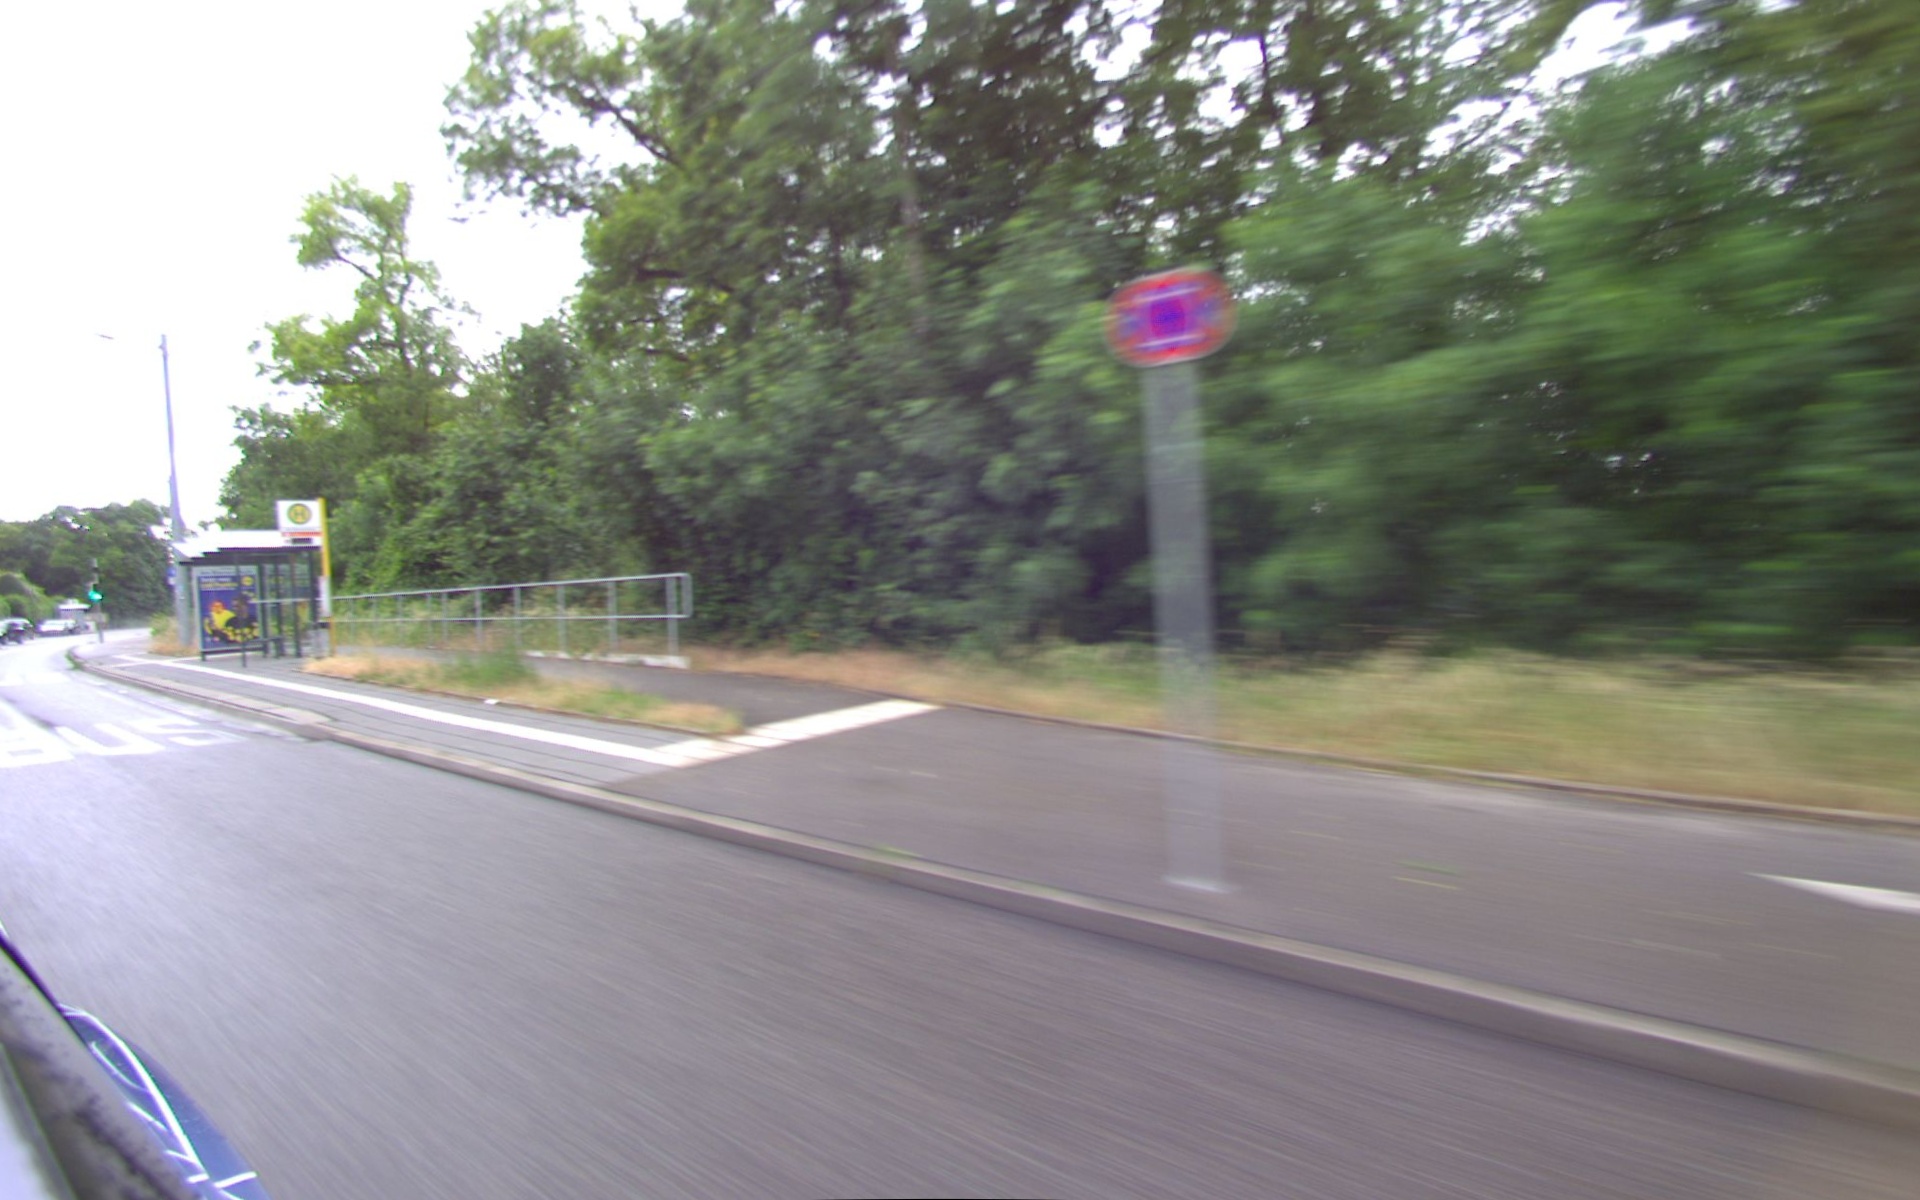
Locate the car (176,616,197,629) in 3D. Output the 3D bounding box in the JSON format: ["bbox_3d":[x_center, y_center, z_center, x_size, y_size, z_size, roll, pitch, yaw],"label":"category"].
[{"bbox_3d":[-99.862,2.870,130.637,1.720,1.471,4.426,-2,1,-33],"label":"car"}]

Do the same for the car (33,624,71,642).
[{"bbox_3d":[-81.134,2.925,90.477,1.788,1.408,4.114,-2,1,-32],"label":"car"}]

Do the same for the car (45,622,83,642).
[{"bbox_3d":[-83.590,2.971,94.445,1.805,1.559,4.643,-2,1,-32],"label":"car"}]

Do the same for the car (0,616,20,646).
[{"bbox_3d":[-58.530,1.894,61.193,1.967,1.737,4.010,-2,0,-35],"label":"car"}]
